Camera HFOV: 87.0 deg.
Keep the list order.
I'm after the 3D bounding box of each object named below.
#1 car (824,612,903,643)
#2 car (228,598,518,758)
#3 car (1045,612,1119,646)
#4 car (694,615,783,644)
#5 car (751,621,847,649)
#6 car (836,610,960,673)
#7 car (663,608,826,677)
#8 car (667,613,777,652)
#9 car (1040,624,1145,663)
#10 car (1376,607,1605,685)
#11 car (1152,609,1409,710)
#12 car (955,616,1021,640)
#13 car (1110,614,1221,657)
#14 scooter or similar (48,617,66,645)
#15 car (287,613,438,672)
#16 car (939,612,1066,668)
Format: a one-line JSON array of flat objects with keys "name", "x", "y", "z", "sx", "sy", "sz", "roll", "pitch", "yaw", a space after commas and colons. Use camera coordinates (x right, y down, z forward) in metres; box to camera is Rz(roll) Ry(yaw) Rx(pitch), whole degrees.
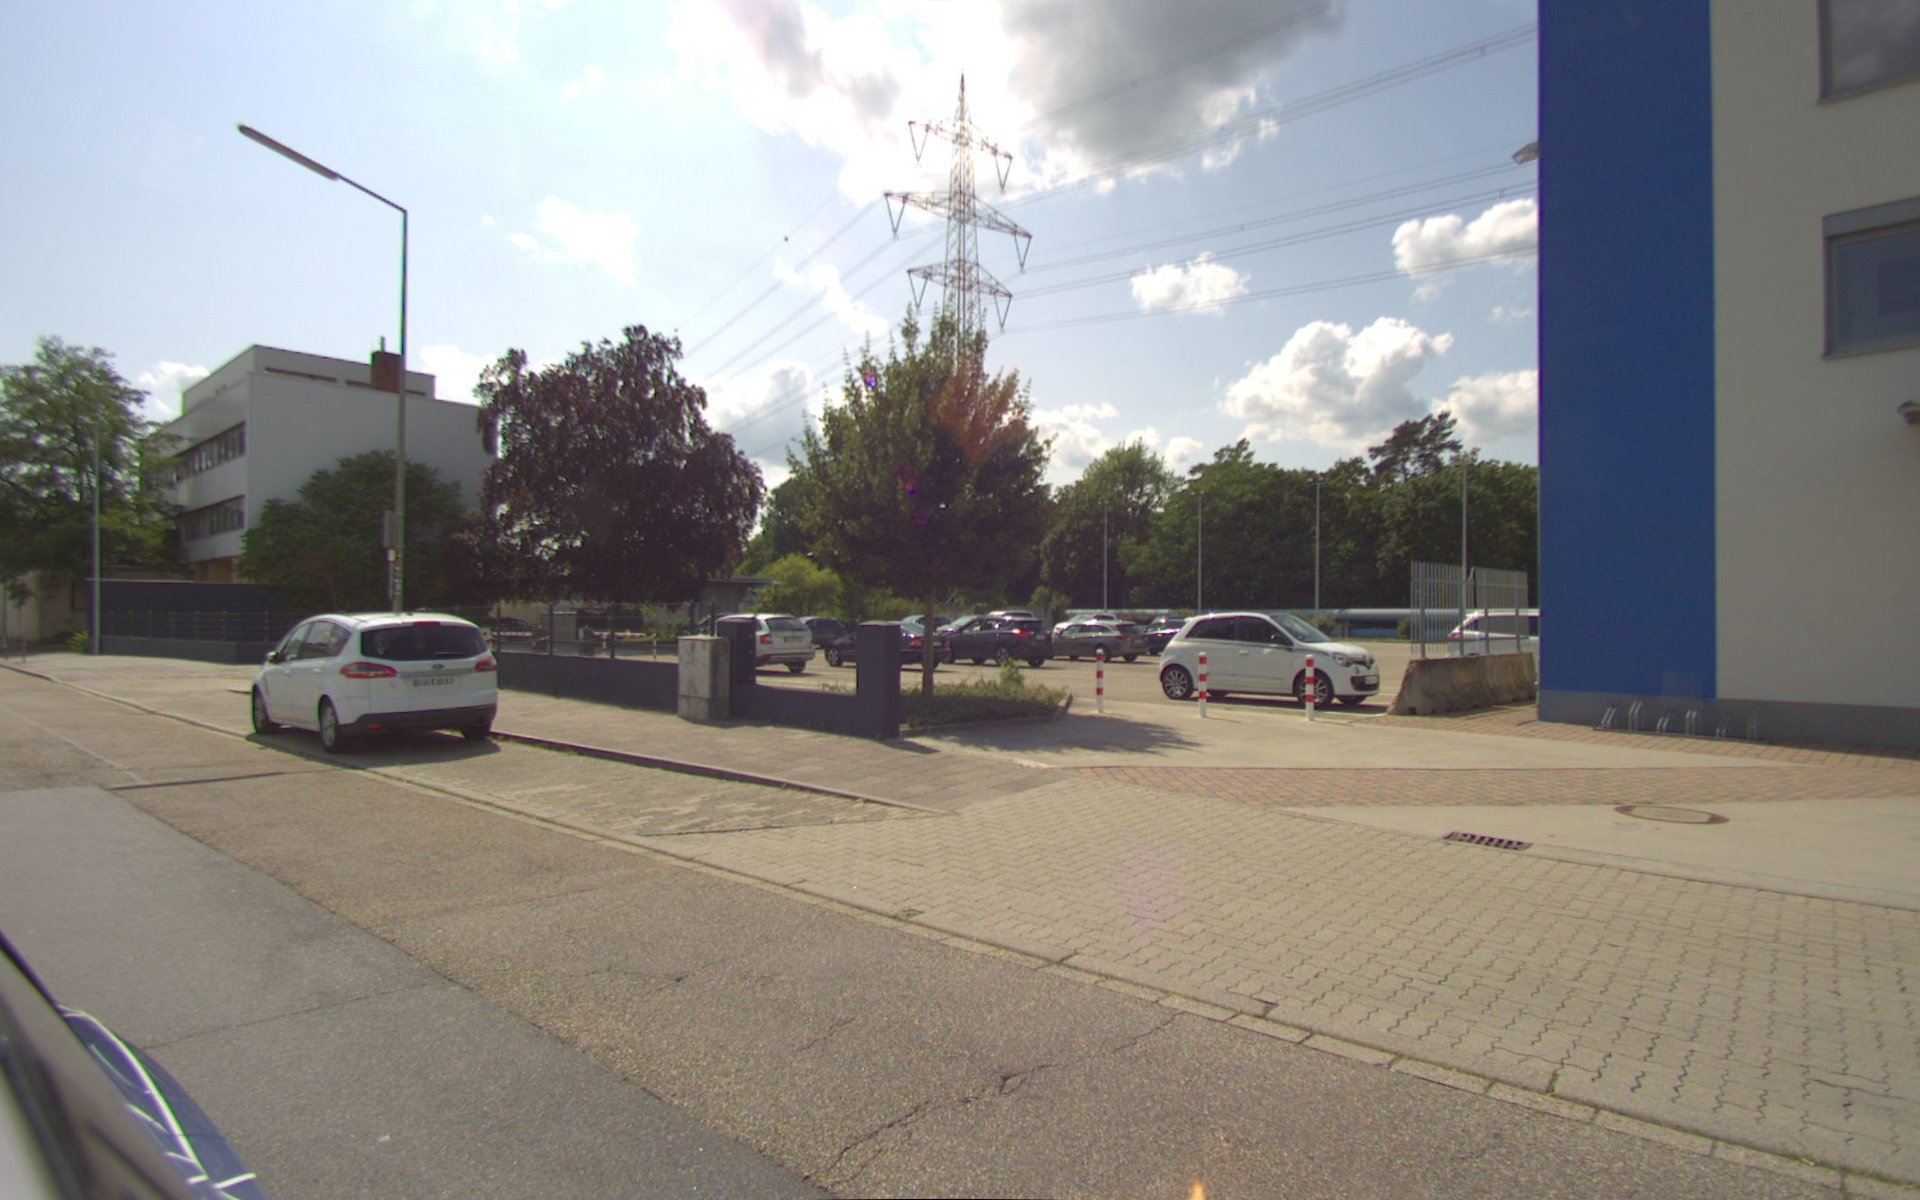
[{"name": "car", "x": -5.399, "y": 1.541, "z": 56.925, "sx": 4.149, "sy": 1.675, "sz": 1.839, "roll": 2, "pitch": -2, "yaw": -43}, {"name": "car", "x": -7.795, "y": 0.854, "z": 13.227, "sx": 4.750, "sy": 1.721, "sz": 1.848, "roll": 0, "pitch": 0, "yaw": 41}, {"name": "car", "x": 6.707, "y": 1.578, "z": 55.467, "sx": 3.720, "sy": 1.798, "sz": 1.992, "roll": 1, "pitch": -2, "yaw": -39}, {"name": "car", "x": -11.524, "y": 1.542, "z": 52.897, "sx": 4.232, "sy": 1.419, "sz": 1.831, "roll": 2, "pitch": -2, "yaw": -44}, {"name": "car", "x": -7.478, "y": 1.605, "z": 47.315, "sx": 4.150, "sy": 1.236, "sz": 1.831, "roll": 2, "pitch": -2, "yaw": -44}, {"name": "car", "x": -1.862, "y": 1.179, "z": 29.781, "sx": 1.850, "sy": 1.721, "sz": 3.483, "roll": 1, "pitch": -1, "yaw": -43}, {"name": "car", "x": -5.704, "y": 1.037, "z": 26.417, "sx": 4.847, "sy": 1.649, "sz": 1.803, "roll": 0, "pitch": -2, "yaw": 45}, {"name": "car", "x": -9.831, "y": 1.335, "z": 41.968, "sx": 4.150, "sy": 1.513, "sz": 1.682, "roll": 2, "pitch": -2, "yaw": -44}, {"name": "car", "x": 4.727, "y": 1.526, "z": 36.436, "sx": 1.517, "sy": 1.332, "sz": 3.768, "roll": 1, "pitch": -2, "yaw": -38}, {"name": "car", "x": 12.400, "y": 1.016, "z": 23.870, "sx": 1.803, "sy": 1.667, "sz": 4.448, "roll": 2, "pitch": -2, "yaw": -44}, {"name": "car", "x": 5.372, "y": 0.920, "z": 17.211, "sx": 3.759, "sy": 1.518, "sz": 1.851, "roll": 0, "pitch": -1, "yaw": 44}, {"name": "car", "x": 1.471, "y": 1.461, "z": 52.907, "sx": 3.273, "sy": 1.239, "sz": 1.682, "roll": 2, "pitch": -2, "yaw": -44}, {"name": "car", "x": 8.096, "y": 1.373, "z": 39.997, "sx": 3.988, "sy": 1.630, "sz": 1.634, "roll": -1, "pitch": -1, "yaw": 33}, {"name": "scooter or similar", "x": -44.141, "y": 1.512, "z": 49.453, "sx": 1.360, "sy": 1.288, "sz": 0.477, "roll": 0, "pitch": 2, "yaw": 41}, {"name": "car", "x": -18.546, "y": 1.279, "z": 31.510, "sx": 1.877, "sy": 1.721, "sz": 3.610, "roll": 0, "pitch": -1, "yaw": 40}, {"name": "car", "x": 1.361, "y": 1.275, "z": 33.562, "sx": 1.851, "sy": 1.721, "sz": 4.070, "roll": 1, "pitch": -1, "yaw": -44}]
